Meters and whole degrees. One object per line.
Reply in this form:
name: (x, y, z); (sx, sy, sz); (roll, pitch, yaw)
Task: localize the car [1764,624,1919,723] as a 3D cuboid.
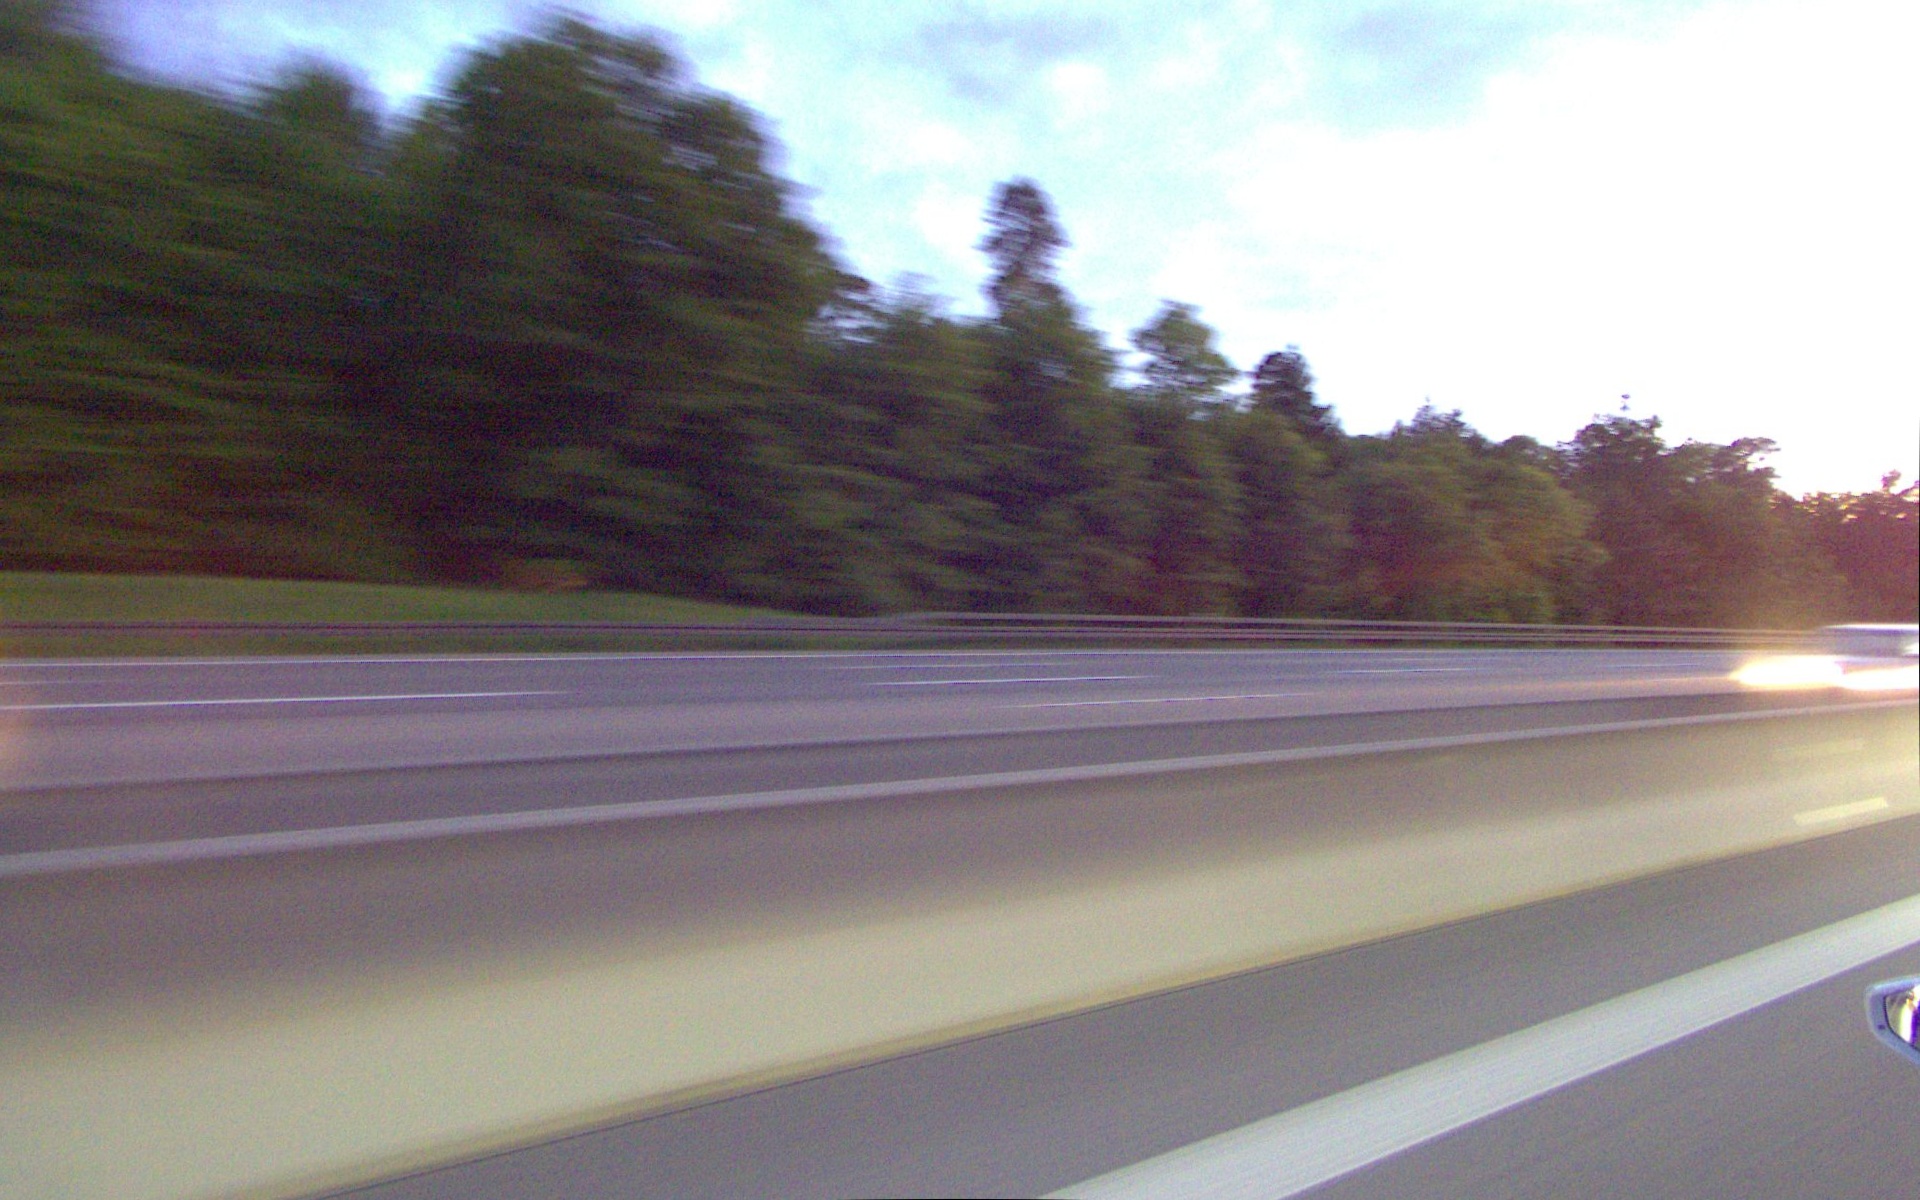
car: (15.757, 1.162, 16.888); (4.633, 1.420, 1.984); (1, 0, -30)

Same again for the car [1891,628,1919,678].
car: (29.765, 1.586, 29.838); (4.881, 1.420, 1.768); (1, 0, -30)
